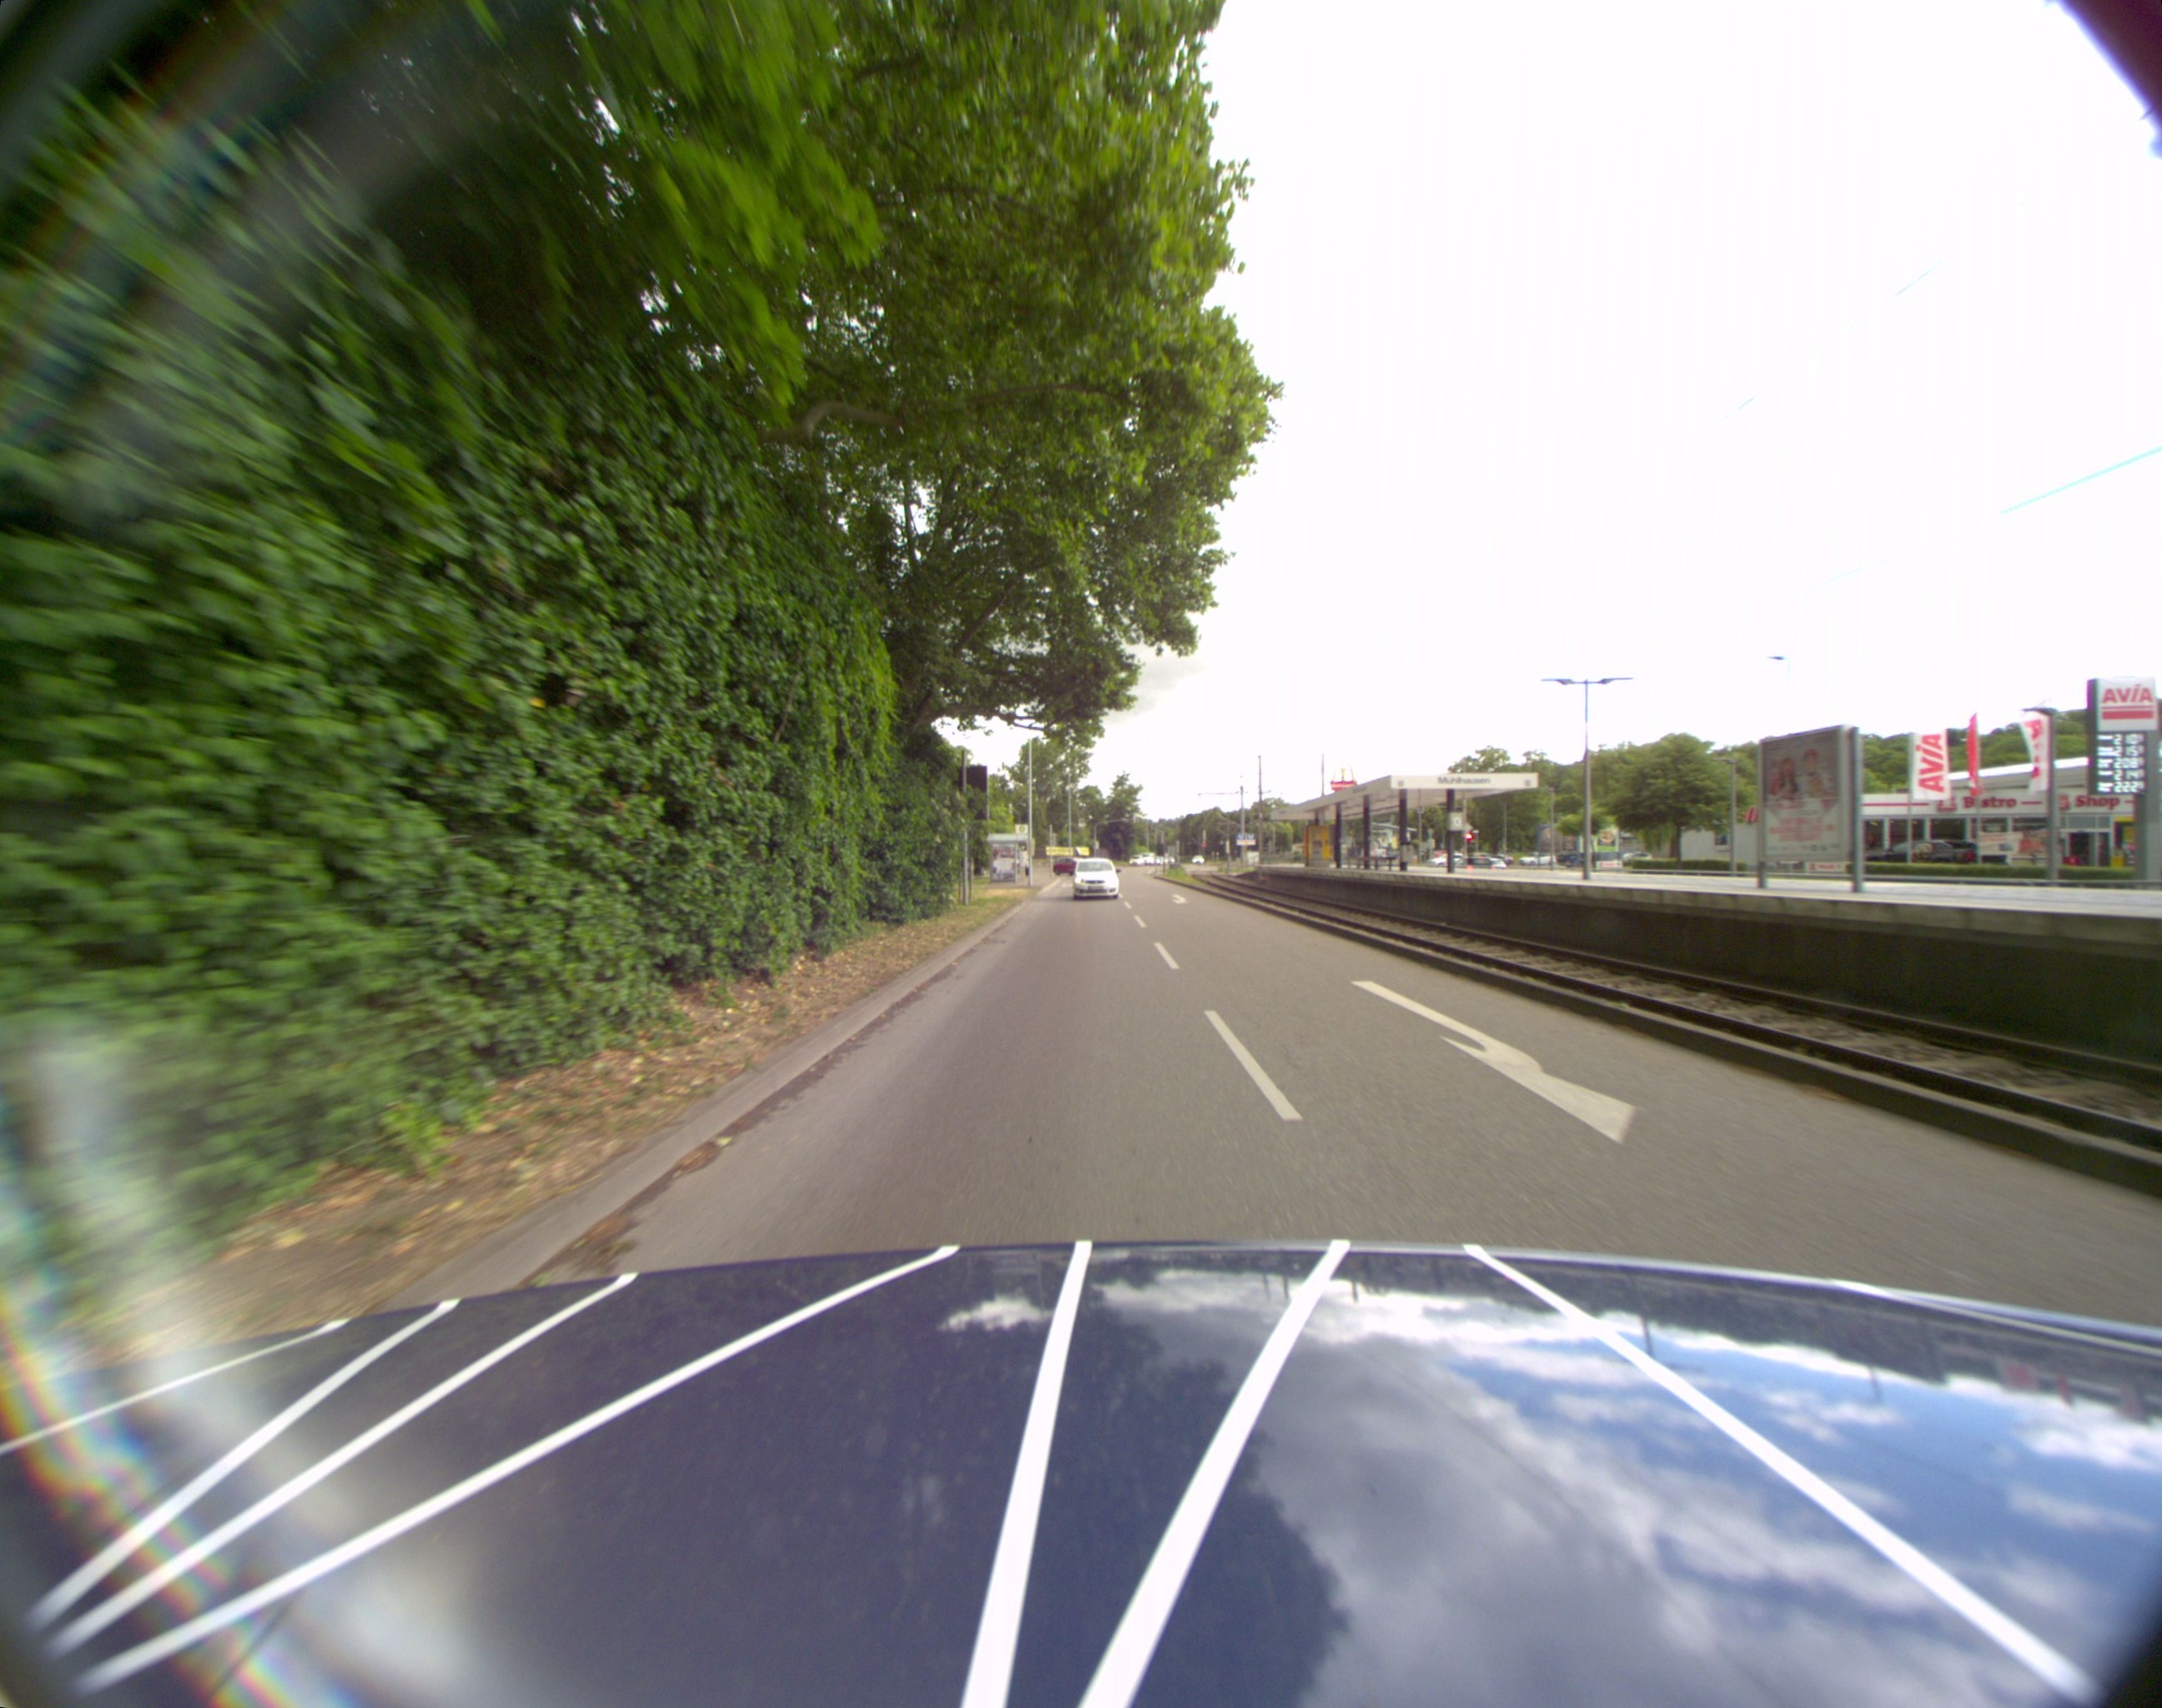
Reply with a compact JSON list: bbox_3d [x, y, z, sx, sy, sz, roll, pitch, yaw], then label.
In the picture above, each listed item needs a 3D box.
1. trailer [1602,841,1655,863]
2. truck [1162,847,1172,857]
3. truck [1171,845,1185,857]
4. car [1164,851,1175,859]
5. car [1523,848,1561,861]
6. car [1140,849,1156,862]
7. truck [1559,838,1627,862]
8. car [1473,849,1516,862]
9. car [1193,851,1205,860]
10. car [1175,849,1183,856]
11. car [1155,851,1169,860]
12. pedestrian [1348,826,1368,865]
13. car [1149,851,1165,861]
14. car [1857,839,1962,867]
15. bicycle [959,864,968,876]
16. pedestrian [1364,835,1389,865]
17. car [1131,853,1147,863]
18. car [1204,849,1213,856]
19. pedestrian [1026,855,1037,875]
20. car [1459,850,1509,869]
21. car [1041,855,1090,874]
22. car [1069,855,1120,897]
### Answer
[{"bbox_3d":[57.681,-0.203,80.127,4.388,2.245,1.560,1,1,1],"label":"trailer"},{"bbox_3d":[27.229,-0.764,241.306,2.711,3.014,8.310,1,1,2],"label":"truck"},{"bbox_3d":[30.808,-0.998,242.005,3.435,3.539,8.700,1,1,2],"label":"truck"},{"bbox_3d":[16.736,0.164,143.956,1.829,1.543,4.003,1,1,10],"label":"car"},{"bbox_3d":[57.708,0.050,95.121,3.640,1.545,1.726,1,1,-4],"label":"car"},{"bbox_3d":[10.055,0.201,114.136,1.807,1.814,4.004,0,0,13],"label":"car"},{"bbox_3d":[55.790,-0.415,82.895,5.820,2.480,2.387,0,1,3],"label":"truck"},{"bbox_3d":[49.758,0.198,91.456,4.419,1.423,1.794,-1,0,-12],"label":"car"},{"bbox_3d":[20.420,0.281,131.691,1.965,1.543,4.003,1,1,10],"label":"car"},{"bbox_3d":[29.483,-0.383,229.352,1.951,2.002,4.000,1,1,1],"label":"car"},{"bbox_3d":[13.729,0.220,128.520,1.829,1.543,4.003,1,1,12],"label":"car"},{"bbox_3d":[11.682,-0.358,32.062,0.585,1.611,0.572,1,1,3],"label":"pedestrian"},{"bbox_3d":[12.264,0.269,122.603,1.996,1.527,4.004,1,1,14],"label":"car"},{"bbox_3d":[42.807,-0.062,39.382,1.616,1.342,3.636,-1,0,3],"label":"car"},{"bbox_3d":[-8.634,1.181,55.820,0.478,0.803,1.514,-1,0,-4],"label":"bicycle"},{"bbox_3d":[11.772,-0.173,30.303,0.771,1.182,0.728,0,1,5],"label":"pedestrian"},{"bbox_3d":[8.222,0.548,108.082,1.718,1.410,4.004,1,1,12],"label":"car"},{"bbox_3d":[37.435,-0.404,222.959,1.998,2.002,4.000,1,1,1],"label":"car"},{"bbox_3d":[-3.752,0.853,57.589,0.755,1.505,0.671,1,1,1],"label":"pedestrian"},{"bbox_3d":[28.999,0.379,54.780,1.617,1.342,4.031,-1,0,2],"label":"car"},{"bbox_3d":[-1.413,0.861,67.185,1.901,1.607,4.495,-1,1,-40],"label":"car"},{"bbox_3d":[0.443,0.789,28.686,1.674,1.439,3.603,-1,0,-3],"label":"car"}]
